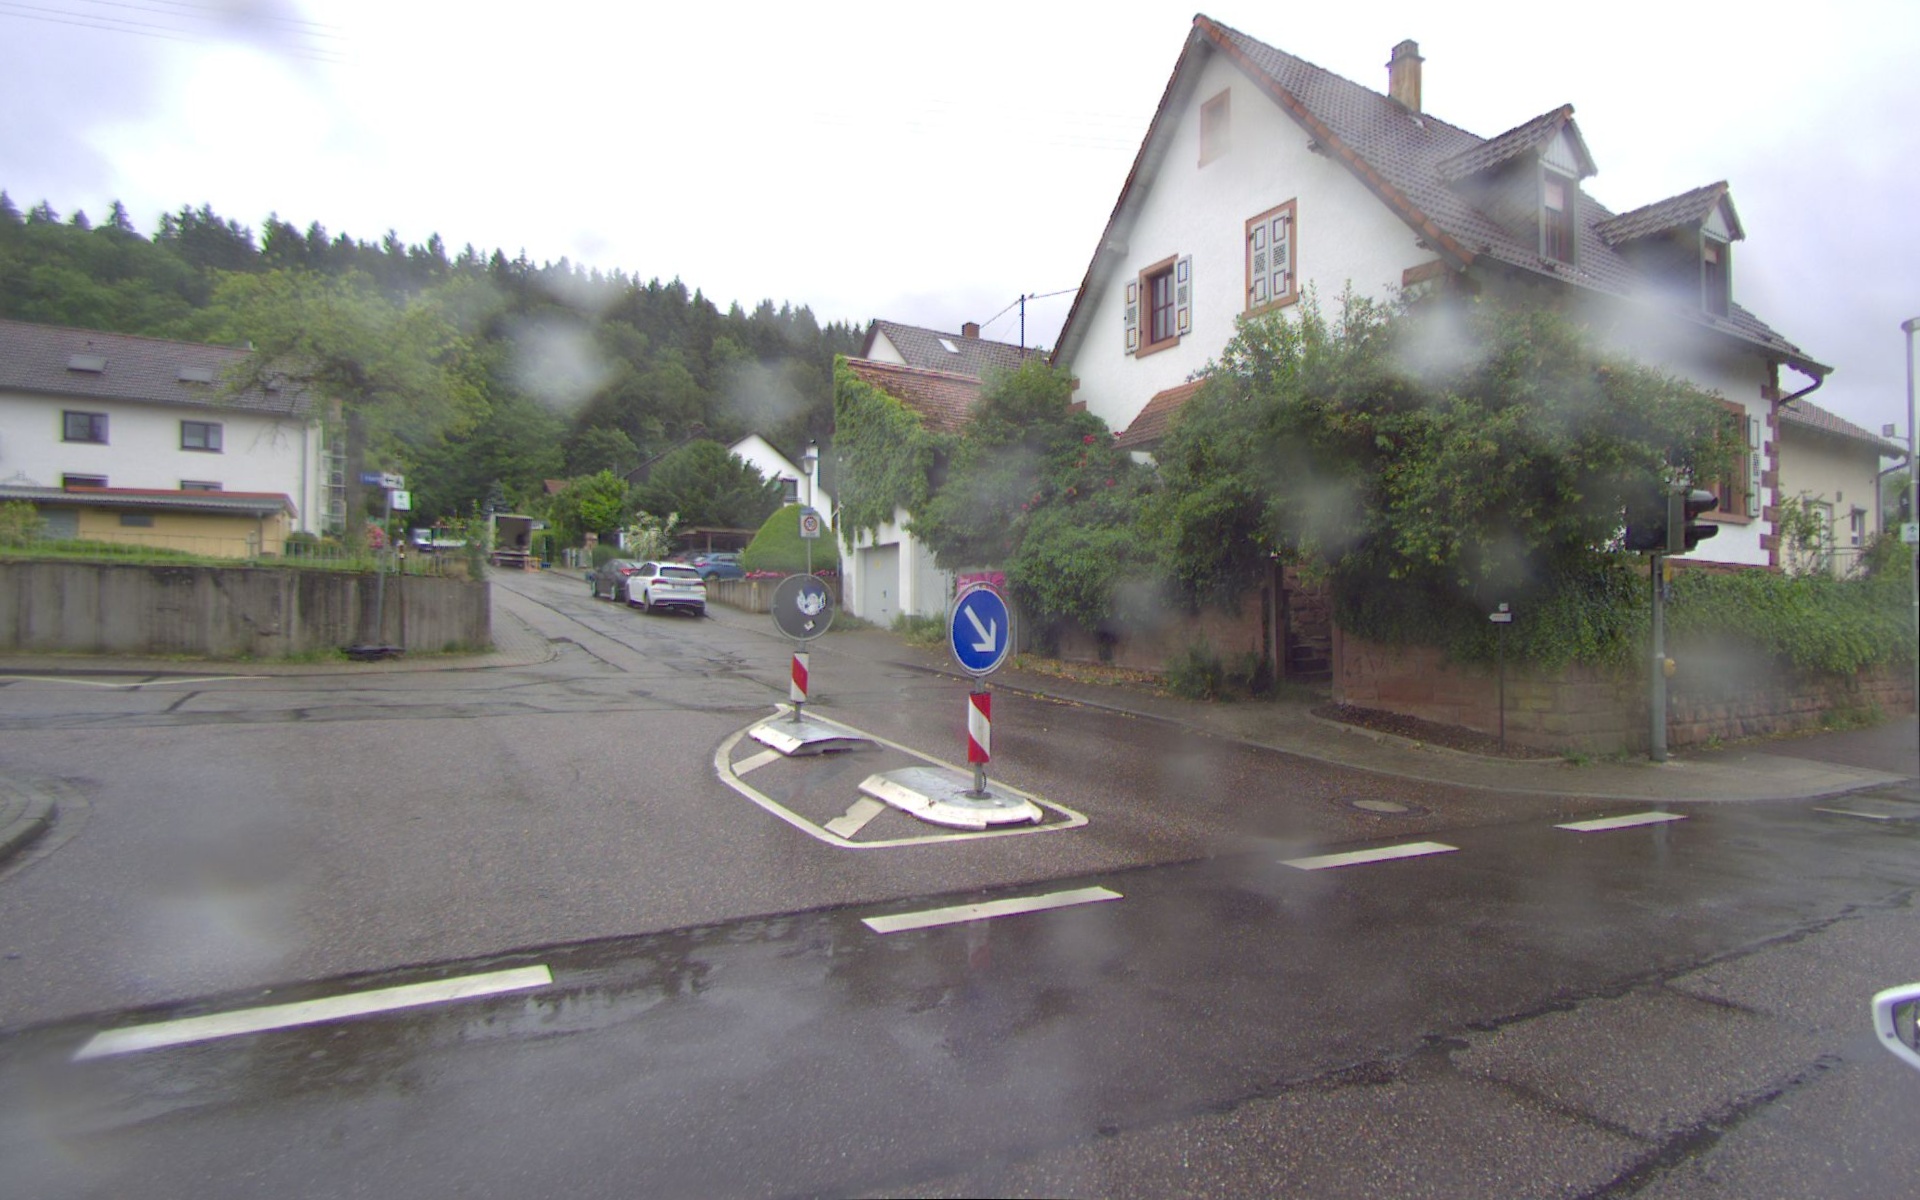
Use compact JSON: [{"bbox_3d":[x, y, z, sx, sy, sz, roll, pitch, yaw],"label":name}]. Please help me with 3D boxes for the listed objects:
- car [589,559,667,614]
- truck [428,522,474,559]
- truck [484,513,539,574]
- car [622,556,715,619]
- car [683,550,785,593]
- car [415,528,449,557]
[{"bbox_3d":[-11.787,-0.496,35.487,1.878,1.535,3.860,2,5,-29],"label":"car"},{"bbox_3d":[-32.906,-3.807,64.868,2.273,2.155,6.030,2,1,-30],"label":"truck"},{"bbox_3d":[-27.553,-3.403,61.527,2.424,3.397,6.605,2,1,-29],"label":"truck"},{"bbox_3d":[-9.079,-0.432,31.087,1.878,1.535,3.860,2,5,-29],"label":"car"},{"bbox_3d":[-9.737,-1.204,43.294,3.846,1.534,1.884,2,5,-31],"label":"car"},{"bbox_3d":[-40.836,-4.417,77.652,1.897,2.040,3.962,2,1,-33],"label":"car"}]
